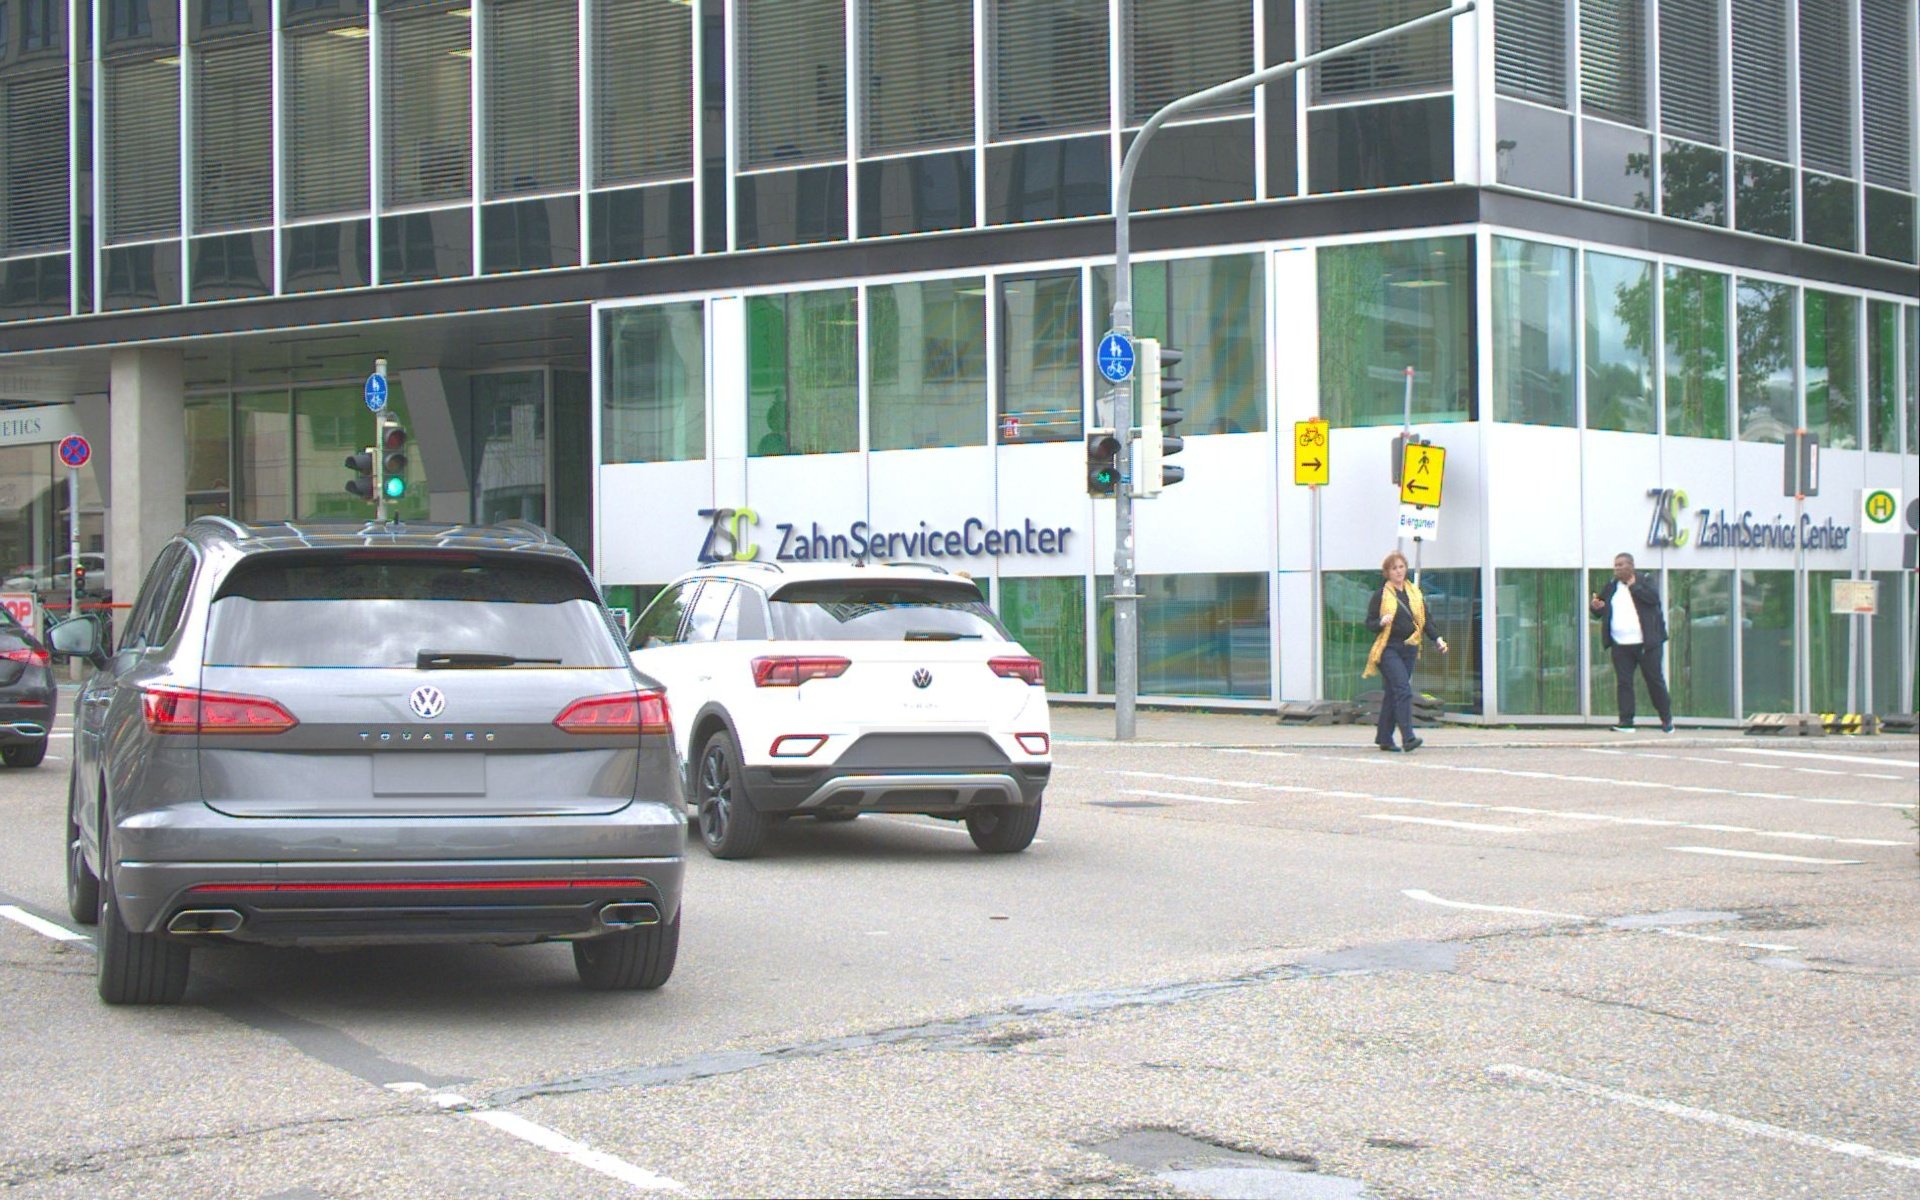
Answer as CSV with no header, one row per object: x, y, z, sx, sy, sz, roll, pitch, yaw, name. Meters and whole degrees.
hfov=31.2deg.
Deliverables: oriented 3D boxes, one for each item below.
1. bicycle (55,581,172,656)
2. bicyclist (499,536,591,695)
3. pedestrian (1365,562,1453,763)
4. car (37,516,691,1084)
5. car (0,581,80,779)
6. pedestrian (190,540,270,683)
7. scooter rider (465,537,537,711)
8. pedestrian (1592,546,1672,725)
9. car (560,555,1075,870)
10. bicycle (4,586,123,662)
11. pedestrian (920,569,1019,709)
-12.104,0.254,49.185,1.483,1.044,0.713,1,1,22,bicycle
-4.842,0.170,40.122,0.813,1.839,0.674,0,1,38,bicyclist
3.844,0.520,29.459,0.546,1.692,0.802,0,1,-8,pedestrian
-2.273,0.549,12.629,1.969,1.690,4.226,-1,2,-13,car
-8.388,0.520,26.275,1.833,1.390,4.147,1,1,-35,car
-8.886,0.138,41.842,0.752,1.706,0.525,-2,1,37,pedestrian
-4.807,0.244,36.012,0.641,1.802,0.593,-1,1,1,scooter rider
6.659,0.343,34.065,0.636,1.742,0.590,1,1,26,pedestrian
-0.914,0.560,19.252,1.797,1.540,3.936,-1,0,-19,car
-12.666,0.335,48.574,1.483,1.044,0.713,1,1,22,bicycle
0.097,0.400,36.265,0.838,1.438,0.605,1,2,38,pedestrian
